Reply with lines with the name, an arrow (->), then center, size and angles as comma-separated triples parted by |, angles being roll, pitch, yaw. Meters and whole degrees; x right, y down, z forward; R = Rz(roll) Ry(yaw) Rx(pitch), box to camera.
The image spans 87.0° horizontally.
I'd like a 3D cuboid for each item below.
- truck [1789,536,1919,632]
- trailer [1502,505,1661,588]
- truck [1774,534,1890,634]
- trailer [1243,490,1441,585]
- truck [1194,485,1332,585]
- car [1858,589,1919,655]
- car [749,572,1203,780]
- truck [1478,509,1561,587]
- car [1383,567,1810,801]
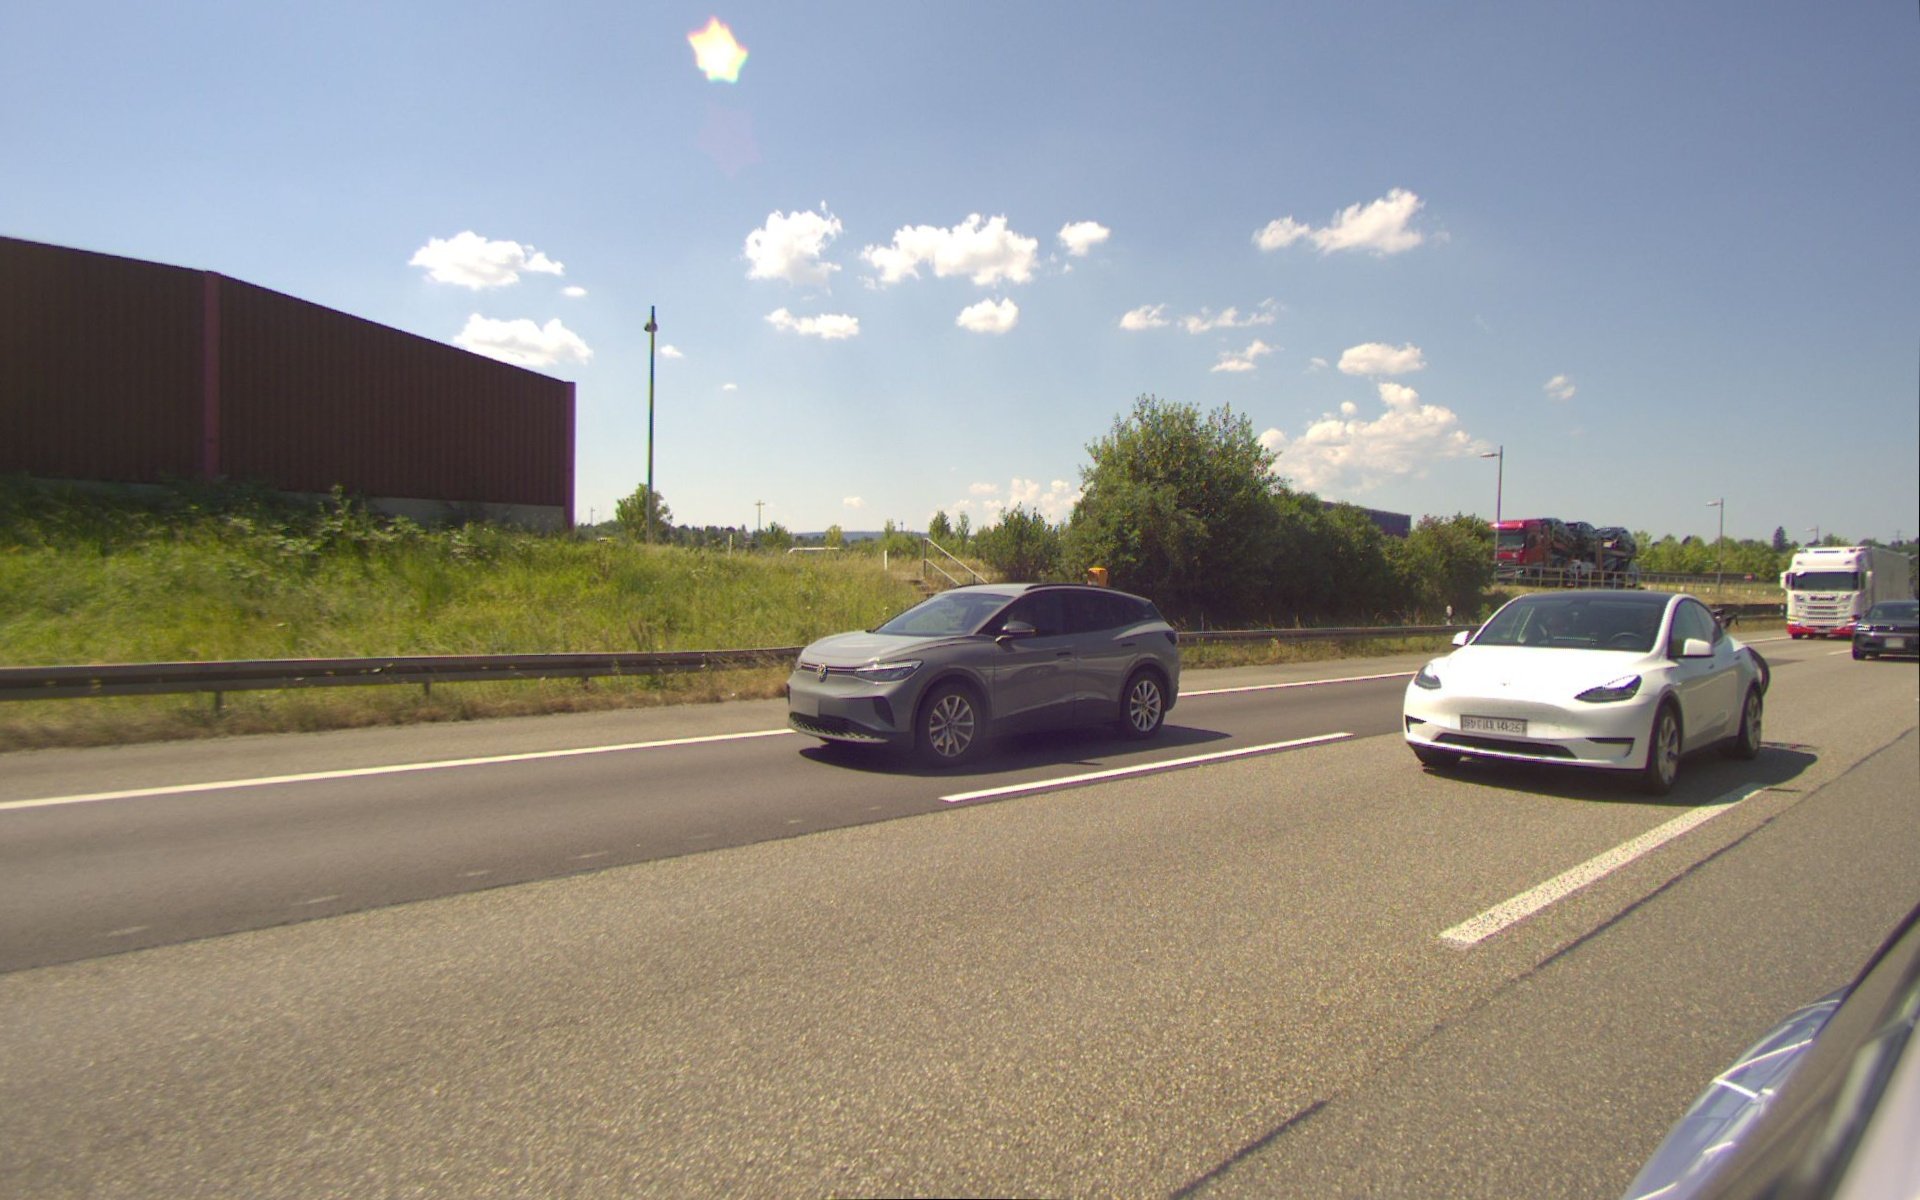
truck -> 41.879, -0.727, 46.951 | 12.283, 3.957, 3.074 | -1, 0, -40
trailer -> 37.301, -2.969, 60.117 | 18.099, 4.311, 2.610 | -1, 0, -41
truck -> 36.520, -0.654, 42.380 | 3.779, 3.957, 3.075 | 0, 0, -40
trailer -> 19.431, -2.885, 50.613 | 14.012, 4.134, 3.057 | -1, 0, -42
truck -> 13.663, -2.775, 45.459 | 6.287, 4.135, 3.057 | -1, 0, -41
car -> 25.833, 0.535, 27.148 | 3.974, 1.667, 1.955 | -1, 0, -39
car -> 0.330, 0.575, 10.244 | 4.506, 1.657, 1.871 | -1, 0, -41
truck -> 29.580, -2.671, 53.496 | 3.930, 3.875, 2.607 | -1, 0, -40
car -> 6.340, 0.561, 9.722 | 5.503, 1.657, 1.954 | -1, 0, -41
